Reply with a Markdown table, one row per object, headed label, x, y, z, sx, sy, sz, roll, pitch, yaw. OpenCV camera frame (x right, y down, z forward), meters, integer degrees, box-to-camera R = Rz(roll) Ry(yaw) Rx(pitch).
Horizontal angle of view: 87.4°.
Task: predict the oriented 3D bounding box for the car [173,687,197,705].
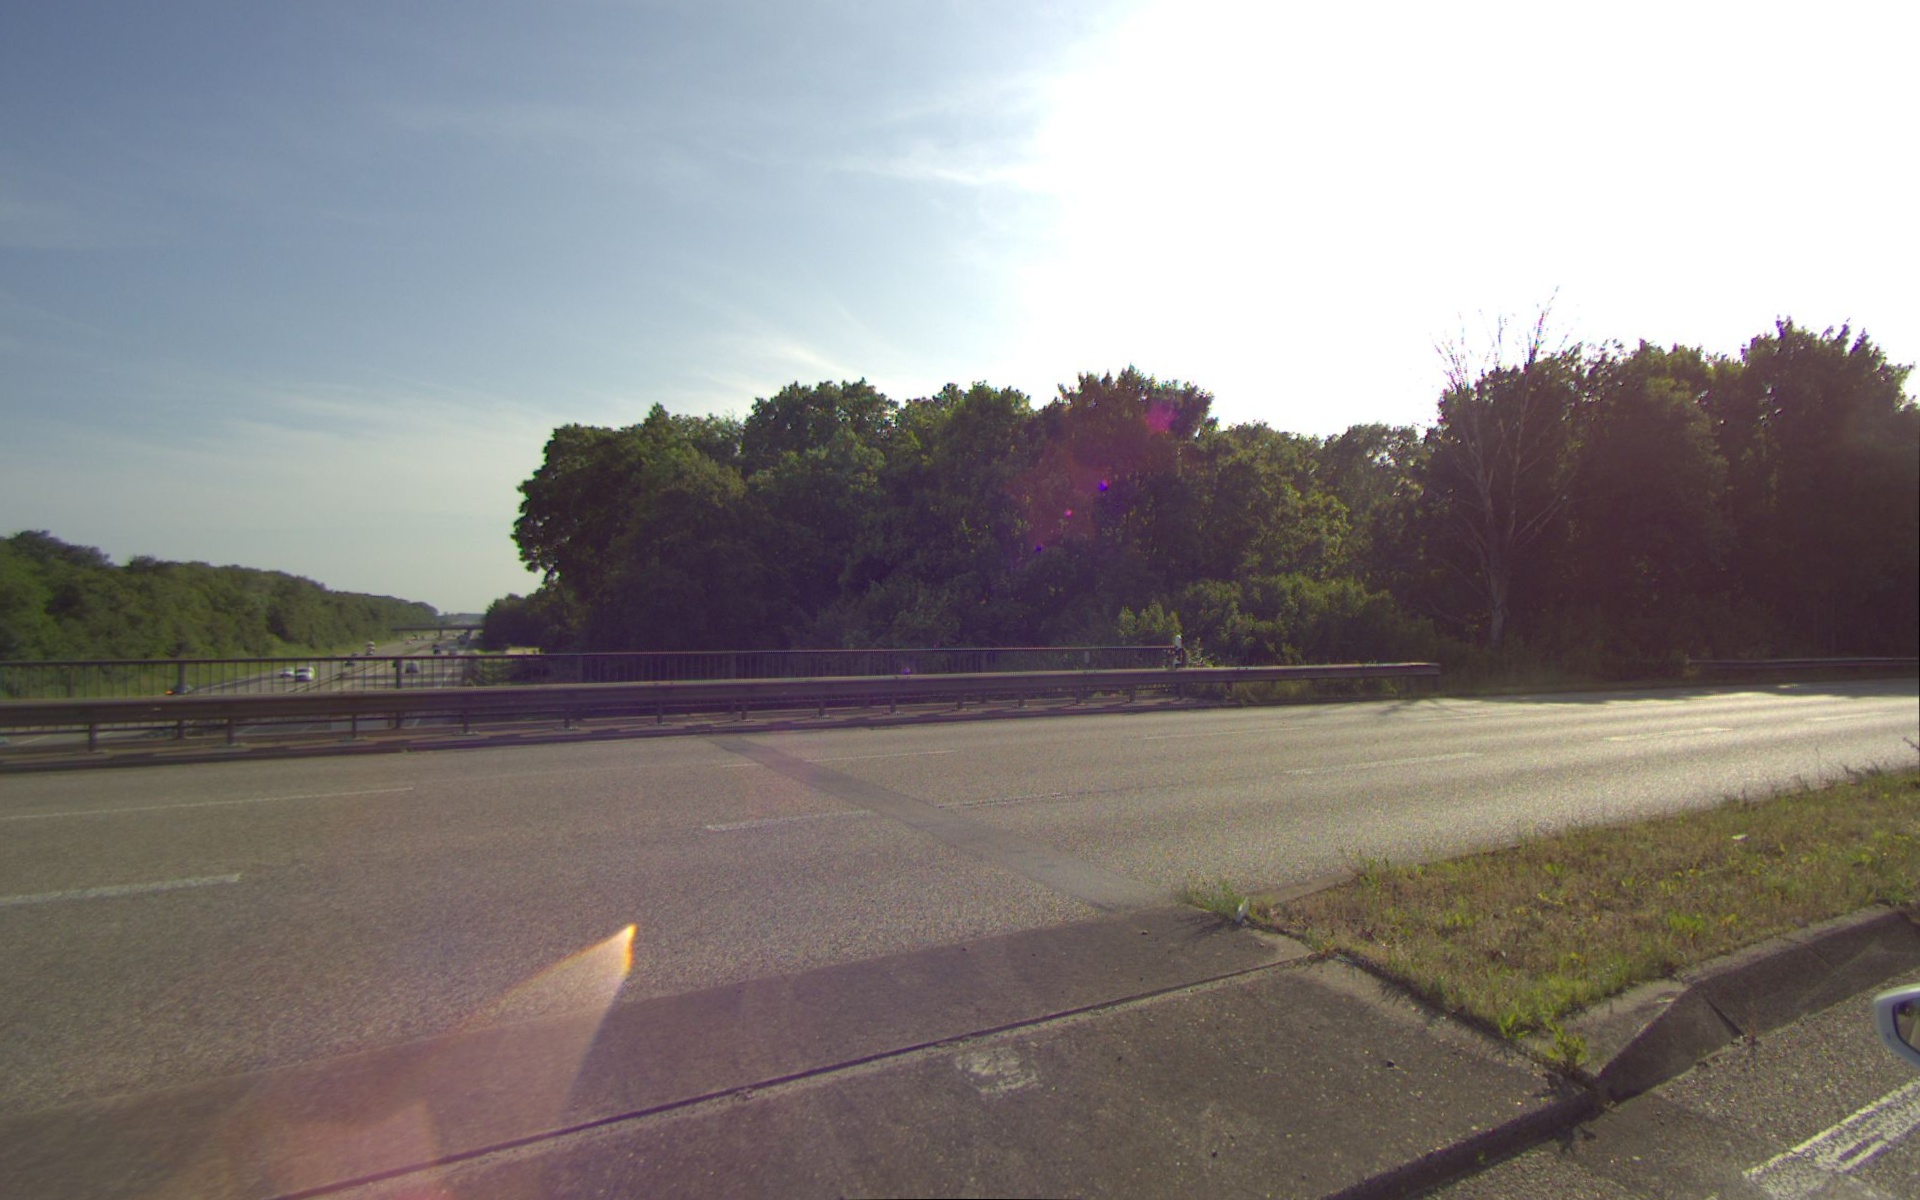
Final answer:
| label | x | y | z | sx | sy | sz | roll | pitch | yaw |
| --- | --- | --- | --- | --- | --- | --- | --- | --- | --- |
| car | -92.377 | 11.435 | 119.760 | 1.860 | 1.747 | 4.153 | 1 | 0 | -31 |

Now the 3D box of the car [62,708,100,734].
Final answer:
| label | x | y | z | sx | sy | sz | roll | pitch | yaw |
| --- | --- | --- | --- | --- | --- | --- | --- | --- | --- |
| car | -79.244 | 10.894 | 90.587 | 1.860 | 1.747 | 4.153 | 1 | 0 | -31 |

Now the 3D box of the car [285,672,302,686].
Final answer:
| label | x | y | z | sx | sy | sz | roll | pitch | yaw |
| --- | --- | --- | --- | --- | --- | --- | --- | --- | --- |
| car | -108.672 | 12.940 | 163.832 | 1.857 | 1.747 | 4.158 | 1 | 3 | -27 |

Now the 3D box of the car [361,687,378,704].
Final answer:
| label | x | y | z | sx | sy | sz | roll | pitch | yaw |
| --- | --- | --- | --- | --- | --- | --- | --- | --- | --- |
| car | -75.596 | 12.209 | 128.525 | 1.860 | 1.746 | 4.153 | 1 | -1 | -31 |

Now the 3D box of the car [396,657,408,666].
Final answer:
| label | x | y | z | sx | sy | sz | roll | pitch | yaw |
| --- | --- | --- | --- | --- | --- | --- | --- | --- | --- |
| car | -108.578 | 11.952 | 195.500 | 1.860 | 1.746 | 4.153 | 1 | -1 | -31 |

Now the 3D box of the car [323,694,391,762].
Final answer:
| label | x | y | z | sx | sy | sz | roll | pitch | yaw |
| --- | --- | --- | --- | --- | --- | --- | --- | --- | --- |
| car | -30.821 | 6.567 | 51.301 | 2.734 | 3.156 | 6.265 | 2 | -8 | -32 |

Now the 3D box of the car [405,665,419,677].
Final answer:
| label | x | y | z | sx | sy | sz | roll | pitch | yaw |
| --- | --- | --- | --- | --- | --- | --- | --- | --- | --- |
| car | -94.653 | 12.266 | 173.391 | 1.860 | 1.746 | 4.153 | 1 | -1 | -31 |

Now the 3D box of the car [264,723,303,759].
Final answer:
| label | x | y | z | sx | sy | sz | roll | pitch | yaw |
| --- | --- | --- | --- | --- | --- | --- | --- | --- | --- |
| car | -42.712 | 8.861 | 63.507 | 1.860 | 1.746 | 4.153 | 1 | -1 | -31 |
